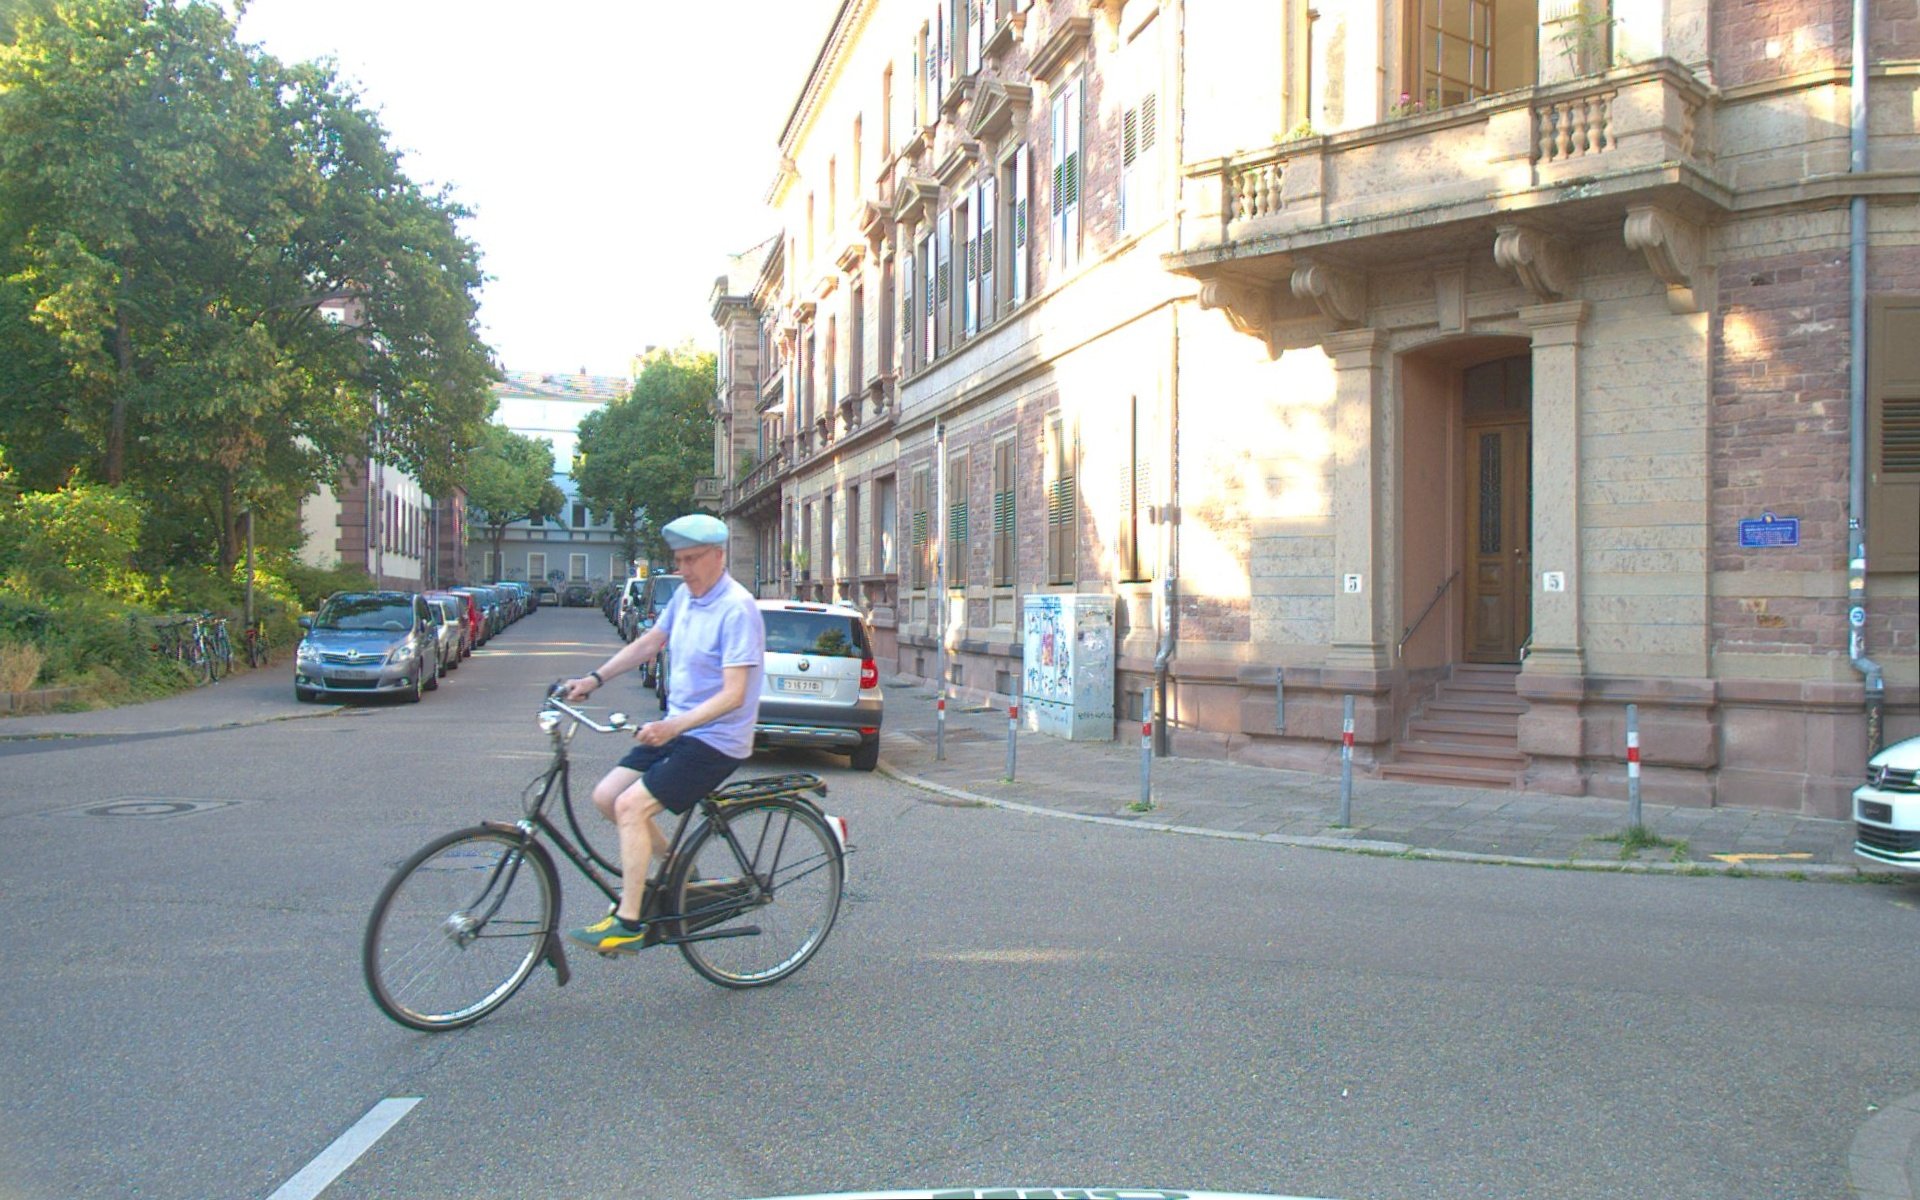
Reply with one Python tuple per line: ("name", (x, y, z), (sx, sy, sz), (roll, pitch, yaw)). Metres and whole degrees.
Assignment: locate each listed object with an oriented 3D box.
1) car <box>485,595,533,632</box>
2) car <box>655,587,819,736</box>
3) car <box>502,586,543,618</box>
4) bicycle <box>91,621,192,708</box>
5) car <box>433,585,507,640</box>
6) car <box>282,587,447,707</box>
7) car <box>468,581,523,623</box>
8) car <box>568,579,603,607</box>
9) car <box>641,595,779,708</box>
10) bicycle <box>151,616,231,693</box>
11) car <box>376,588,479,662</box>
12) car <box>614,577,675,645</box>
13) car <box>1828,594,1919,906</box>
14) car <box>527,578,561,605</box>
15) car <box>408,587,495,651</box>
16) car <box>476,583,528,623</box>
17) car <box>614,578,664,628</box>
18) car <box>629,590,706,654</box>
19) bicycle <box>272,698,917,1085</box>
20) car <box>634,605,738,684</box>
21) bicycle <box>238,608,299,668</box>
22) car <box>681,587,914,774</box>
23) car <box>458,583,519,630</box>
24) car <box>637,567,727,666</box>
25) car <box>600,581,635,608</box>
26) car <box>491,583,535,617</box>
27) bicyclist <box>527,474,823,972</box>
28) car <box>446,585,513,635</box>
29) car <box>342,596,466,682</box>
("car", (-20.369, 0.588, 74.814), (1.794, 1.526, 3.919), (4, -1, -12))
("car", (-3.170, 0.763, 22.782), (1.794, 1.753, 4.529), (4, -1, -12))
("car", (-22.673, 0.091, 85.756), (1.794, 1.526, 3.919), (4, -1, -12))
("bicycle", (-11.549, 0.875, 23.418), (0.586, 1.120, 2.620), (0, 0, -11))
("car", (-14.915, 0.359, 50.484), (1.794, 1.526, 3.919), (4, -1, -12))
("car", (-9.284, 0.684, 26.102), (1.794, 1.643, 4.278), (4, -1, -12))
("car", (-18.382, 0.068, 65.608), (1.794, 1.526, 3.919), (4, -1, -12))
("car", (-25.947, -0.462, 114.542), (1.963, 1.713, 3.978), (2, -2, -18))
("car", (-4.200, 0.794, 27.320), (1.768, 1.642, 3.939), (3, 0, -15))
("bicycle", (-12.089, 0.830, 26.075), (0.586, 1.120, 2.619), (0, 0, -13))
("car", (-12.140, 0.538, 37.922), (1.794, 1.504, 3.919), (4, -1, -12))
("car", (-10.512, 0.347, 55.003), (1.767, 2.108, 3.942), (3, -1, -13))
("car", (7.483, 0.857, 9.168), (4.387, 1.678, 1.876), (0, -2, 13))
("car", (-28.521, -0.556, 113.238), (1.963, 1.713, 3.978), (2, -2, -18))
("car", (-13.508, 0.472, 44.087), (1.794, 1.526, 3.919), (4, -1, -12))
("car", (-19.303, 0.126, 69.872), (1.794, 1.526, 3.919), (4, -1, -12))
("car", (-12.918, 0.106, 66.381), (1.767, 1.871, 3.942), (3, 0, -13))
("car", (-7.778, 0.549, 43.779), (1.767, 1.550, 3.942), (3, 0, -13))
("bicycle", (-1.233, 0.921, 5.767), (2.093, 1.073, 0.694), (0, 0, -29))
("car", (-5.492, 0.845, 32.849), (1.767, 1.369, 3.942), (3, 0, -13))
("bicycle", (-13.526, 0.719, 32.411), (0.586, 1.120, 2.620), (0, 0, -11))
("car", (-1.877, 0.787, 17.834), (1.883, 1.686, 4.172), (4, -1, -13))
("car", (-17.040, 0.233, 59.942), (1.794, 1.526, 3.919), (4, -1, -12))
("car", (-6.545, 0.361, 38.645), (1.767, 2.108, 3.942), (3, -1, -13))
("car", (-23.892, -0.395, 115.352), (1.963, 1.713, 3.978), (2, -2, -18))
("car", (-21.784, -0.014, 80.742), (1.794, 1.526, 3.919), (4, -1, -12))
("bicyclist", (-1.022, 0.400, 5.885), (0.861, 1.616, 0.694), (1, 0, -29))
("car", (-16.026, 0.319, 55.280), (1.794, 1.526, 3.919), (4, -1, -12))
("car", (-10.853, 0.719, 32.521), (1.794, 1.472, 3.919), (4, -1, -12))
